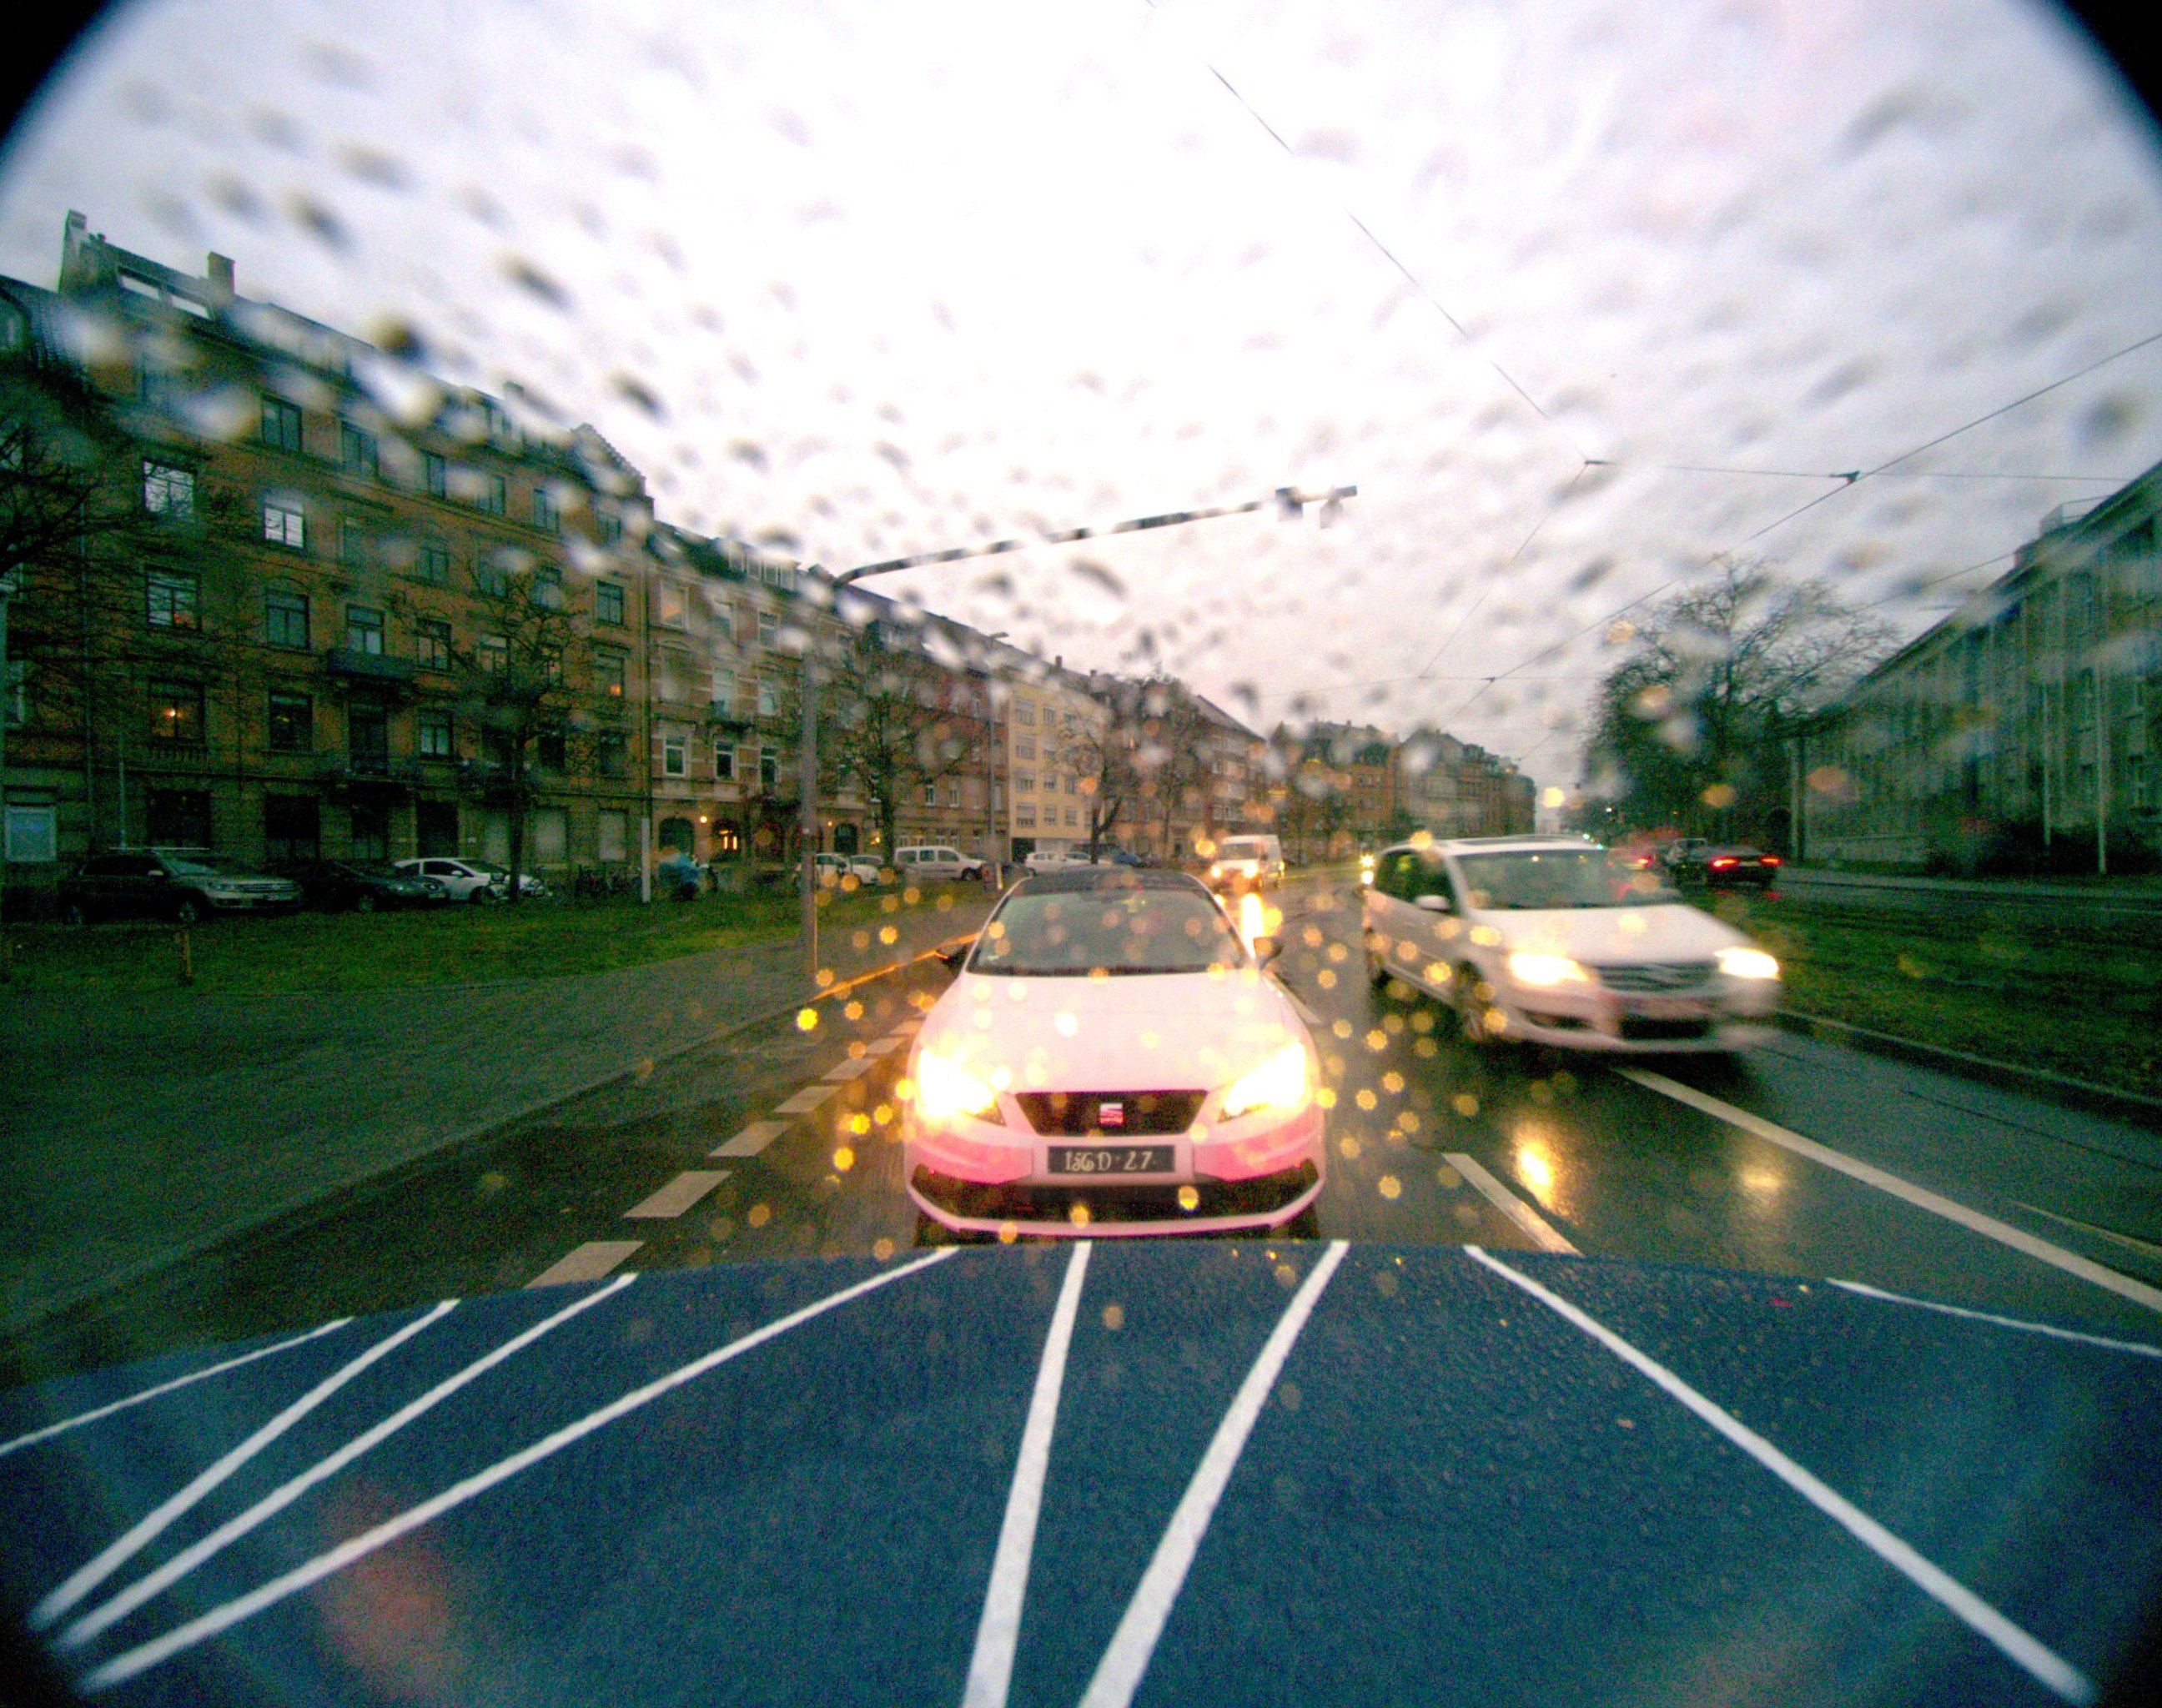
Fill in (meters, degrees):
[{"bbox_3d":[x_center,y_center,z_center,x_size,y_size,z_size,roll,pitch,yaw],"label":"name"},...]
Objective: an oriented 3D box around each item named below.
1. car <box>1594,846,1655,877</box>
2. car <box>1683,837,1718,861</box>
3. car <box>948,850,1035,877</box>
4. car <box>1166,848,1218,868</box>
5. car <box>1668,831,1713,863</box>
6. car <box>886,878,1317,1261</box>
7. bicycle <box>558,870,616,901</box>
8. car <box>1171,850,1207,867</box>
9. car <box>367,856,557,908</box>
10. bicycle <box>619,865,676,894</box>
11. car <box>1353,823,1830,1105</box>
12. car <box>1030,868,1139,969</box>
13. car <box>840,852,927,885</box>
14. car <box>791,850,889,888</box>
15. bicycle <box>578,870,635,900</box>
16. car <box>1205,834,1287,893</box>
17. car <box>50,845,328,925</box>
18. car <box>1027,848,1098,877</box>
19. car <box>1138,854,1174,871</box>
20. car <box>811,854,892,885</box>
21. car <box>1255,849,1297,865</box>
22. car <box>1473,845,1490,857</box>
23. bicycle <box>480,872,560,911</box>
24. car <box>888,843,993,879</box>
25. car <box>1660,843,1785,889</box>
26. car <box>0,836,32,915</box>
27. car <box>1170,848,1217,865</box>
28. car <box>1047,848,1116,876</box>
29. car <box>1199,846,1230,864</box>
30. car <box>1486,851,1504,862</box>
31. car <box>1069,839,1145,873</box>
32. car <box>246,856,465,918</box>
[{"bbox_3d":[29.049,0.374,40.726,1.822,1.426,4.663,-3,0,25],"label":"car"},{"bbox_3d":[39.482,-0.310,48.483,1.557,1.420,2.960,-1,1,36],"label":"car"},{"bbox_3d":[-4.523,0.497,38.732,4.058,1.227,1.771,1,0,6],"label":"car"},{"bbox_3d":[8.716,0.312,59.885,3.869,1.397,1.695,-3,0,6],"label":"car"},{"bbox_3d":[41.843,-0.525,52.214,1.995,2.002,4.518,-3,0,35],"label":"car"},{"bbox_3d":[0.126,0.960,4.991,1.715,1.404,3.679,-3,0,1],"label":"car"},{"bbox_3d":[-16.151,1.043,24.824,2.165,0.960,0.627,-2,-2,28],"label":"bicycle"},{"bbox_3d":[10.787,0.453,75.804,1.690,1.534,4.008,-3,0,38],"label":"car"},{"bbox_3d":[-17.121,0.745,21.146,3.856,1.329,1.698,-1,0,-1],"label":"car"},{"bbox_3d":[-15.077,0.878,26.407,2.165,0.960,0.627,0,1,28],"label":"bicycle"},{"bbox_3d":[3.834,0.688,6.703,1.673,1.650,4.150,-3,0,6],"label":"car"},{"bbox_3d":[0.160,0.976,12.718,1.589,1.418,3.135,-1,0,4],"label":"car"},{"bbox_3d":[-8.818,0.648,34.107,3.430,1.343,1.664,-2,0,2],"label":"car"},{"bbox_3d":[-10.024,0.615,31.684,3.462,1.435,1.615,-2,0,6],"label":"car"},{"bbox_3d":[-15.878,1.058,25.420,2.165,0.960,0.627,-2,-2,28],"label":"bicycle"},{"bbox_3d":[7.502,0.365,34.077,2.126,2.366,5.648,-3,0,27],"label":"car"},{"bbox_3d":[-19.493,0.622,16.738,3.996,1.627,1.944,0,1,4],"label":"car"},{"bbox_3d":[-1.051,0.483,43.685,3.770,1.424,1.762,-3,0,9],"label":"car"},{"bbox_3d":[7.007,0.793,70.643,1.470,1.534,3.880,0,1,38],"label":"car"},{"bbox_3d":[-12.638,0.827,42.040,1.733,1.492,4.058,-3,-1,32],"label":"car"},{"bbox_3d":[18.520,0.308,72.224,3.760,1.346,1.603,-3,0,11],"label":"car"},{"bbox_3d":[54.617,-0.409,103.472,1.719,1.608,3.946,-1,0,32],"label":"car"},{"bbox_3d":[-14.417,0.945,19.573,1.655,0.931,0.513,0,0,-35],"label":"bicycle"},{"bbox_3d":[-6.726,0.314,36.545,4.659,1.583,1.778,1,1,3],"label":"car"},{"bbox_3d":[22.392,0.377,26.753,1.659,1.392,4.528,-3,0,17],"label":"car"},{"bbox_3d":[-29.097,0.552,17.914,1.994,2.002,4.997,1,1,33],"label":"car"},{"bbox_3d":[9.289,0.194,62.668,3.760,1.325,1.603,-1,1,11],"label":"car"},{"bbox_3d":[0.014,0.488,45.787,3.998,1.406,1.641,-3,0,-2],"label":"car"},{"bbox_3d":[14.168,0.059,80.398,1.670,1.693,3.472,-3,0,40],"label":"car"},{"bbox_3d":[53.981,0.269,99.038,1.892,1.405,3.954,-1,0,33],"label":"car"},{"bbox_3d":[1.624,0.126,48.558,4.720,1.971,1.799,-2,0,-2],"label":"car"},{"bbox_3d":[-17.919,0.803,18.901,3.742,1.346,1.677,-2,-1,-2],"label":"car"}]
